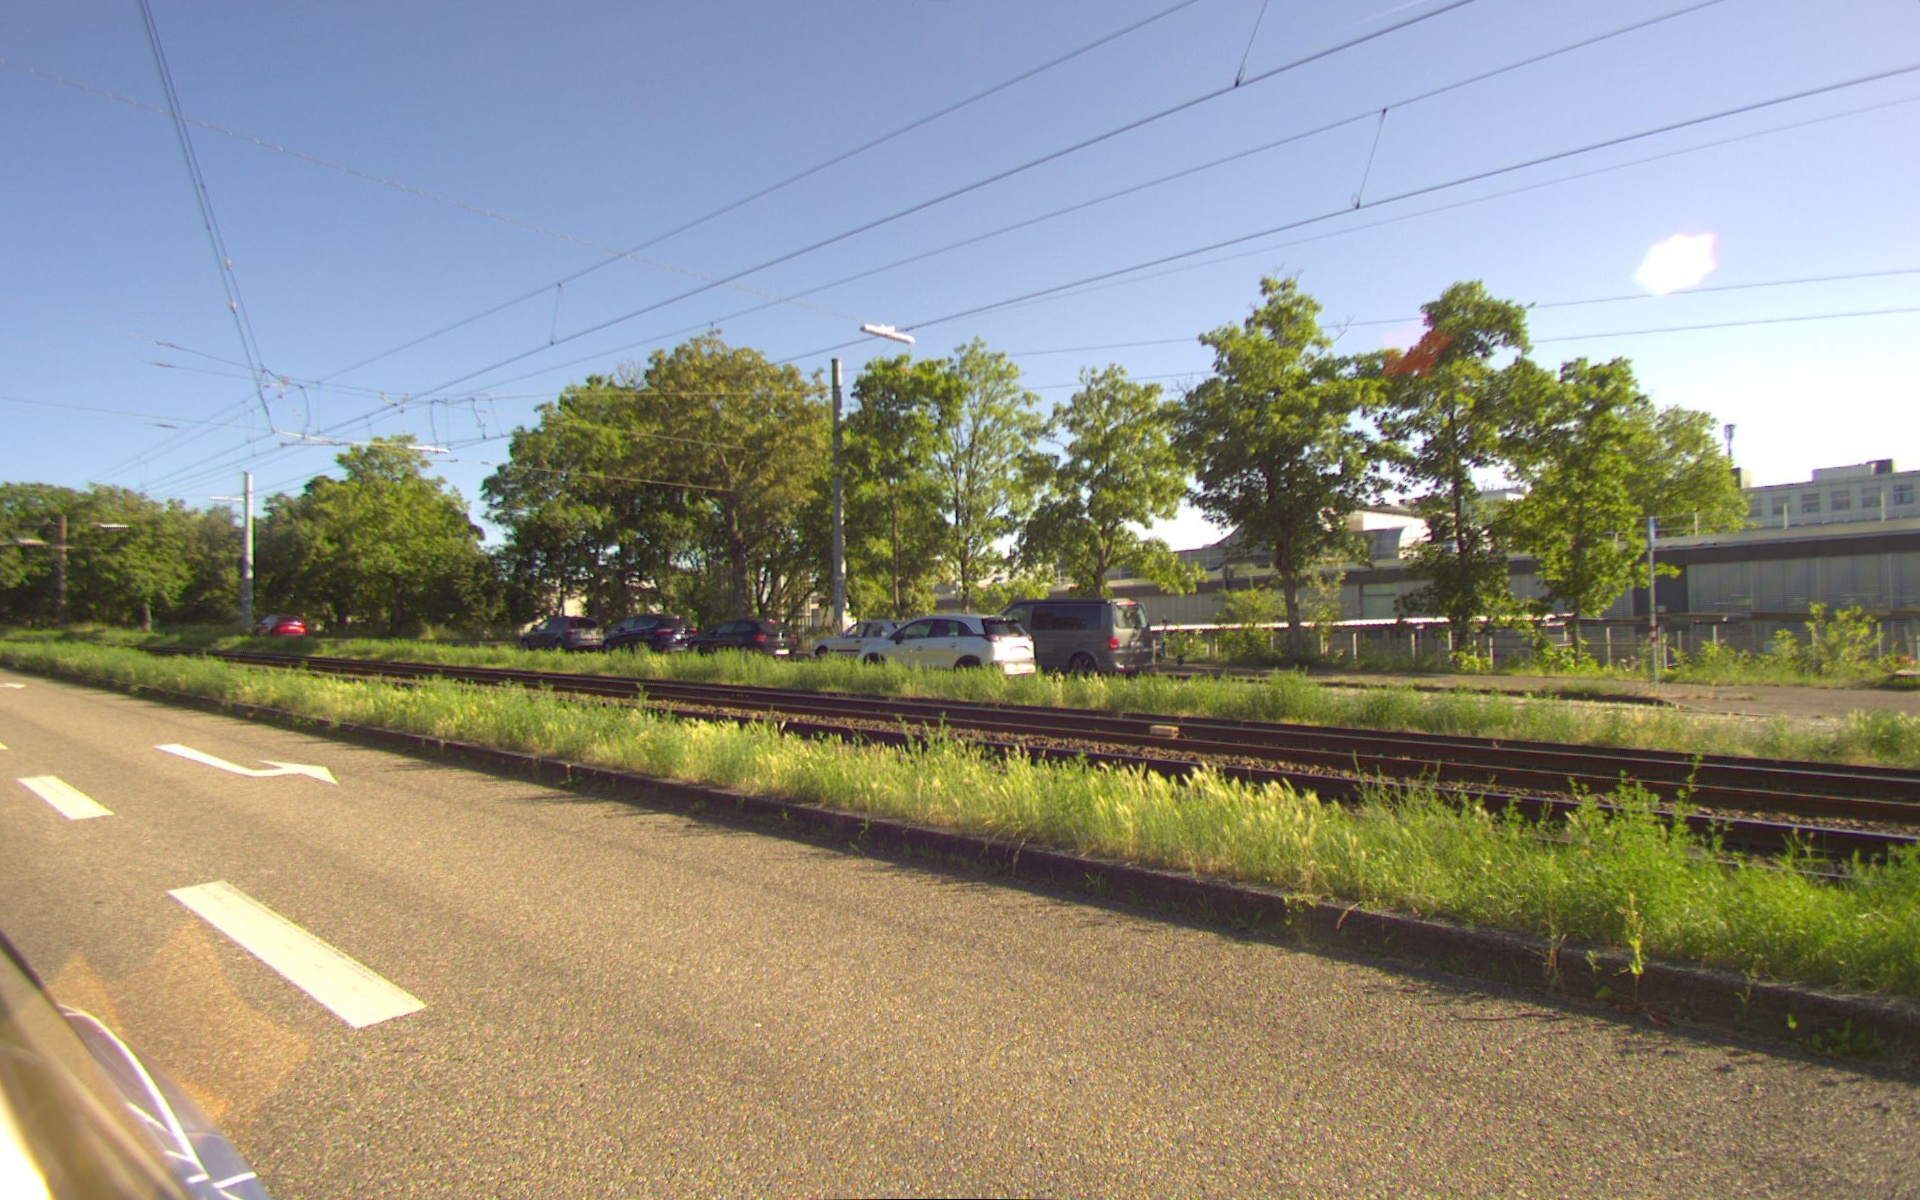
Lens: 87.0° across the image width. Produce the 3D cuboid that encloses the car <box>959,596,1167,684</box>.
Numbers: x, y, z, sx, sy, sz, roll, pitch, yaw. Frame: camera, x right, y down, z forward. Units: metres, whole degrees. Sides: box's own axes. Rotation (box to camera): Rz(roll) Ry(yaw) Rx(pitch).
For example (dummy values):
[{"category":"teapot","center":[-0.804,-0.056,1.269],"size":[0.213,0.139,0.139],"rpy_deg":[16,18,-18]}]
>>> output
[{"category":"car","center":[2.443,0.939,24.822],"size":[4.684,1.949,2.178],"rpy_deg":[-2,-1,42]}]

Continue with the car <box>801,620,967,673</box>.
[{"category":"car","center":[-2.254,1.313,29.232],"size":[4.612,1.391,2.103],"rpy_deg":[-2,-1,40]}]

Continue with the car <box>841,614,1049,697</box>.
[{"category":"car","center":[-0.366,1.133,21.402],"size":[4.150,1.569,1.838],"rpy_deg":[-2,-1,37]}]

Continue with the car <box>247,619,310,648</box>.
[{"category":"car","center":[-42.447,2.087,62.998],"size":[4.797,1.746,2.290],"rpy_deg":[-2,-1,43]}]

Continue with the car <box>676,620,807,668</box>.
[{"category":"car","center":[-7.231,1.426,33.240],"size":[4.486,1.437,1.935],"rpy_deg":[-2,-1,42]}]

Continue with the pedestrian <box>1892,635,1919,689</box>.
[{"category":"pedestrian","center":[23.519,1.537,25.049],"size":[0.435,1.310,0.441],"rpy_deg":[-1,-2,-1]}]

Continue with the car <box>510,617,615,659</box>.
[{"category":"car","center":[-16.255,1.524,41.269],"size":[4.557,1.575,2.103],"rpy_deg":[-2,-1,41]}]

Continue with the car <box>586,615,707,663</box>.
[{"category":"car","center":[-11.425,1.393,36.792],"size":[4.614,1.599,2.102],"rpy_deg":[-2,-1,41]}]
